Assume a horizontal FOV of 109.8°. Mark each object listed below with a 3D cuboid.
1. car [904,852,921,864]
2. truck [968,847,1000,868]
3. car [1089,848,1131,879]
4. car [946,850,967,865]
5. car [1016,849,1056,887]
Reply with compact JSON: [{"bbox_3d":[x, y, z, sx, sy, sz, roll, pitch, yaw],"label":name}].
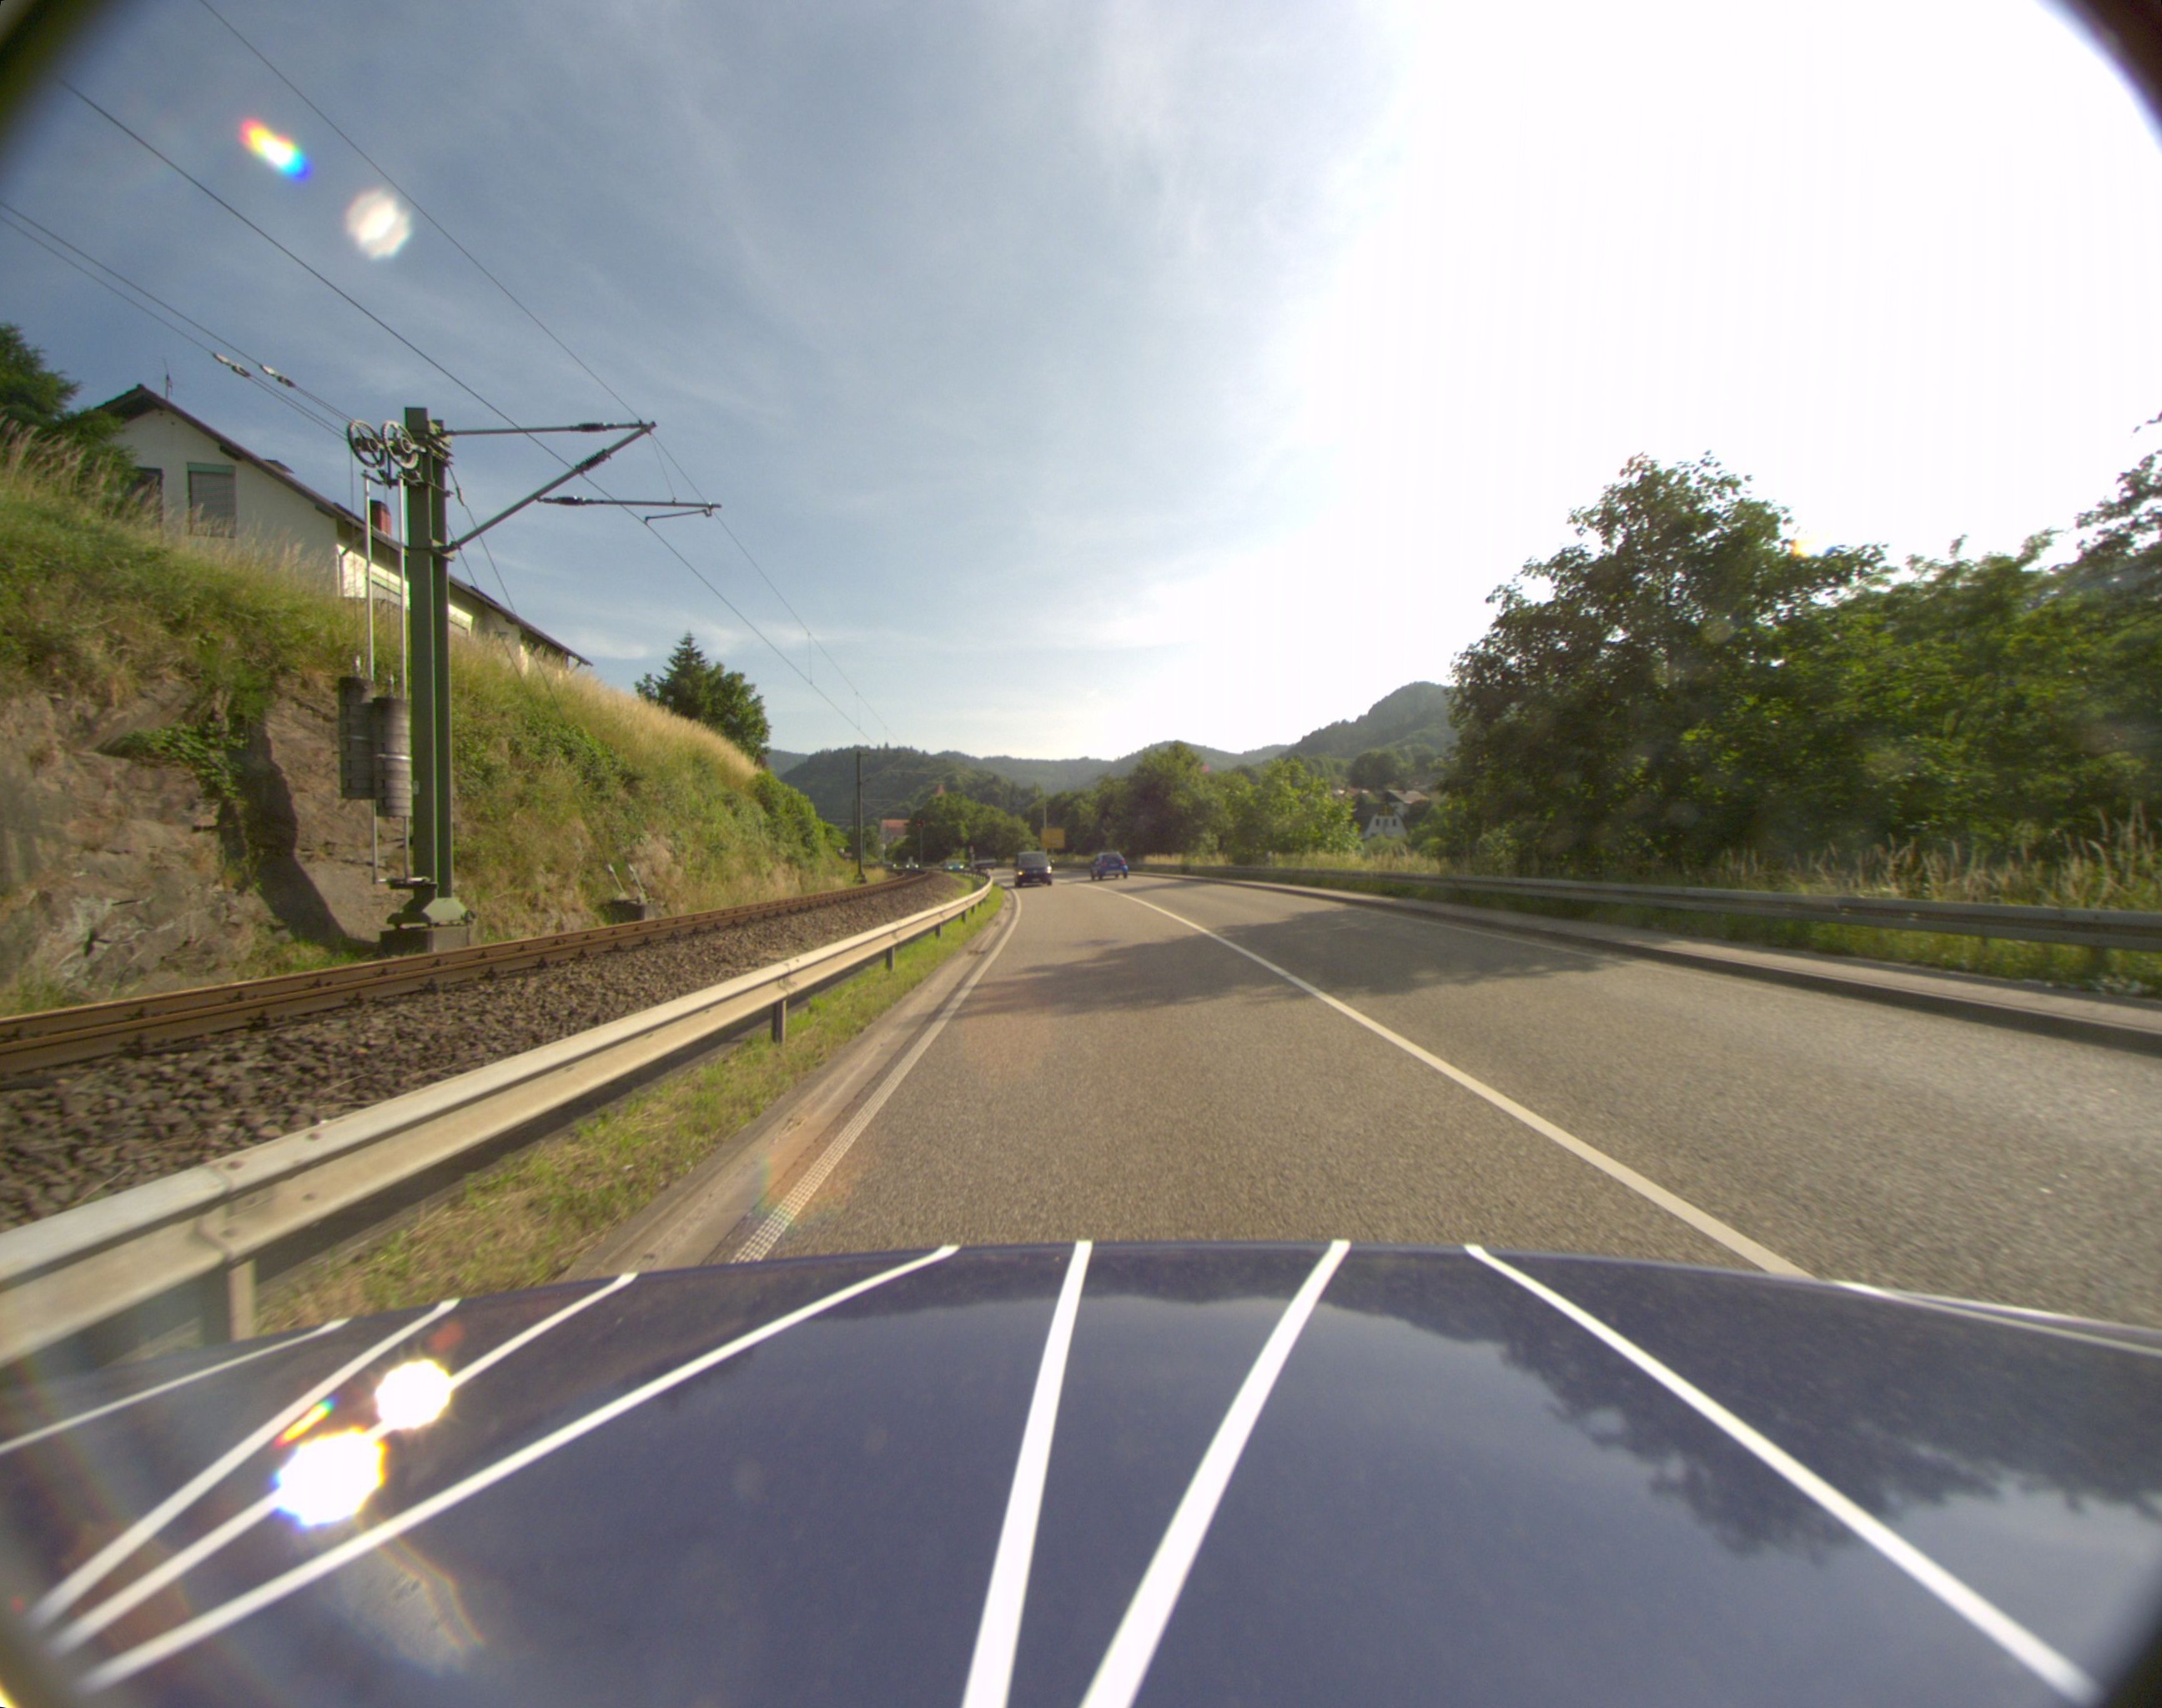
[{"bbox_3d":[-26.936,0.683,121.371,1.888,1.735,4.170,-2,0,-25],"label":"car"},{"bbox_3d":[-12.470,0.476,96.903,2.166,2.352,6.733,-5,1,-23],"label":"truck"},{"bbox_3d":[1.698,0.535,45.413,1.756,1.558,3.997,-6,1,-7],"label":"car"},{"bbox_3d":[-15.204,0.422,92.700,1.888,1.735,4.172,-2,0,-19],"label":"car"},{"bbox_3d":[-2.585,0.737,43.090,2.019,1.905,4.310,-3,1,-4],"label":"car"}]
